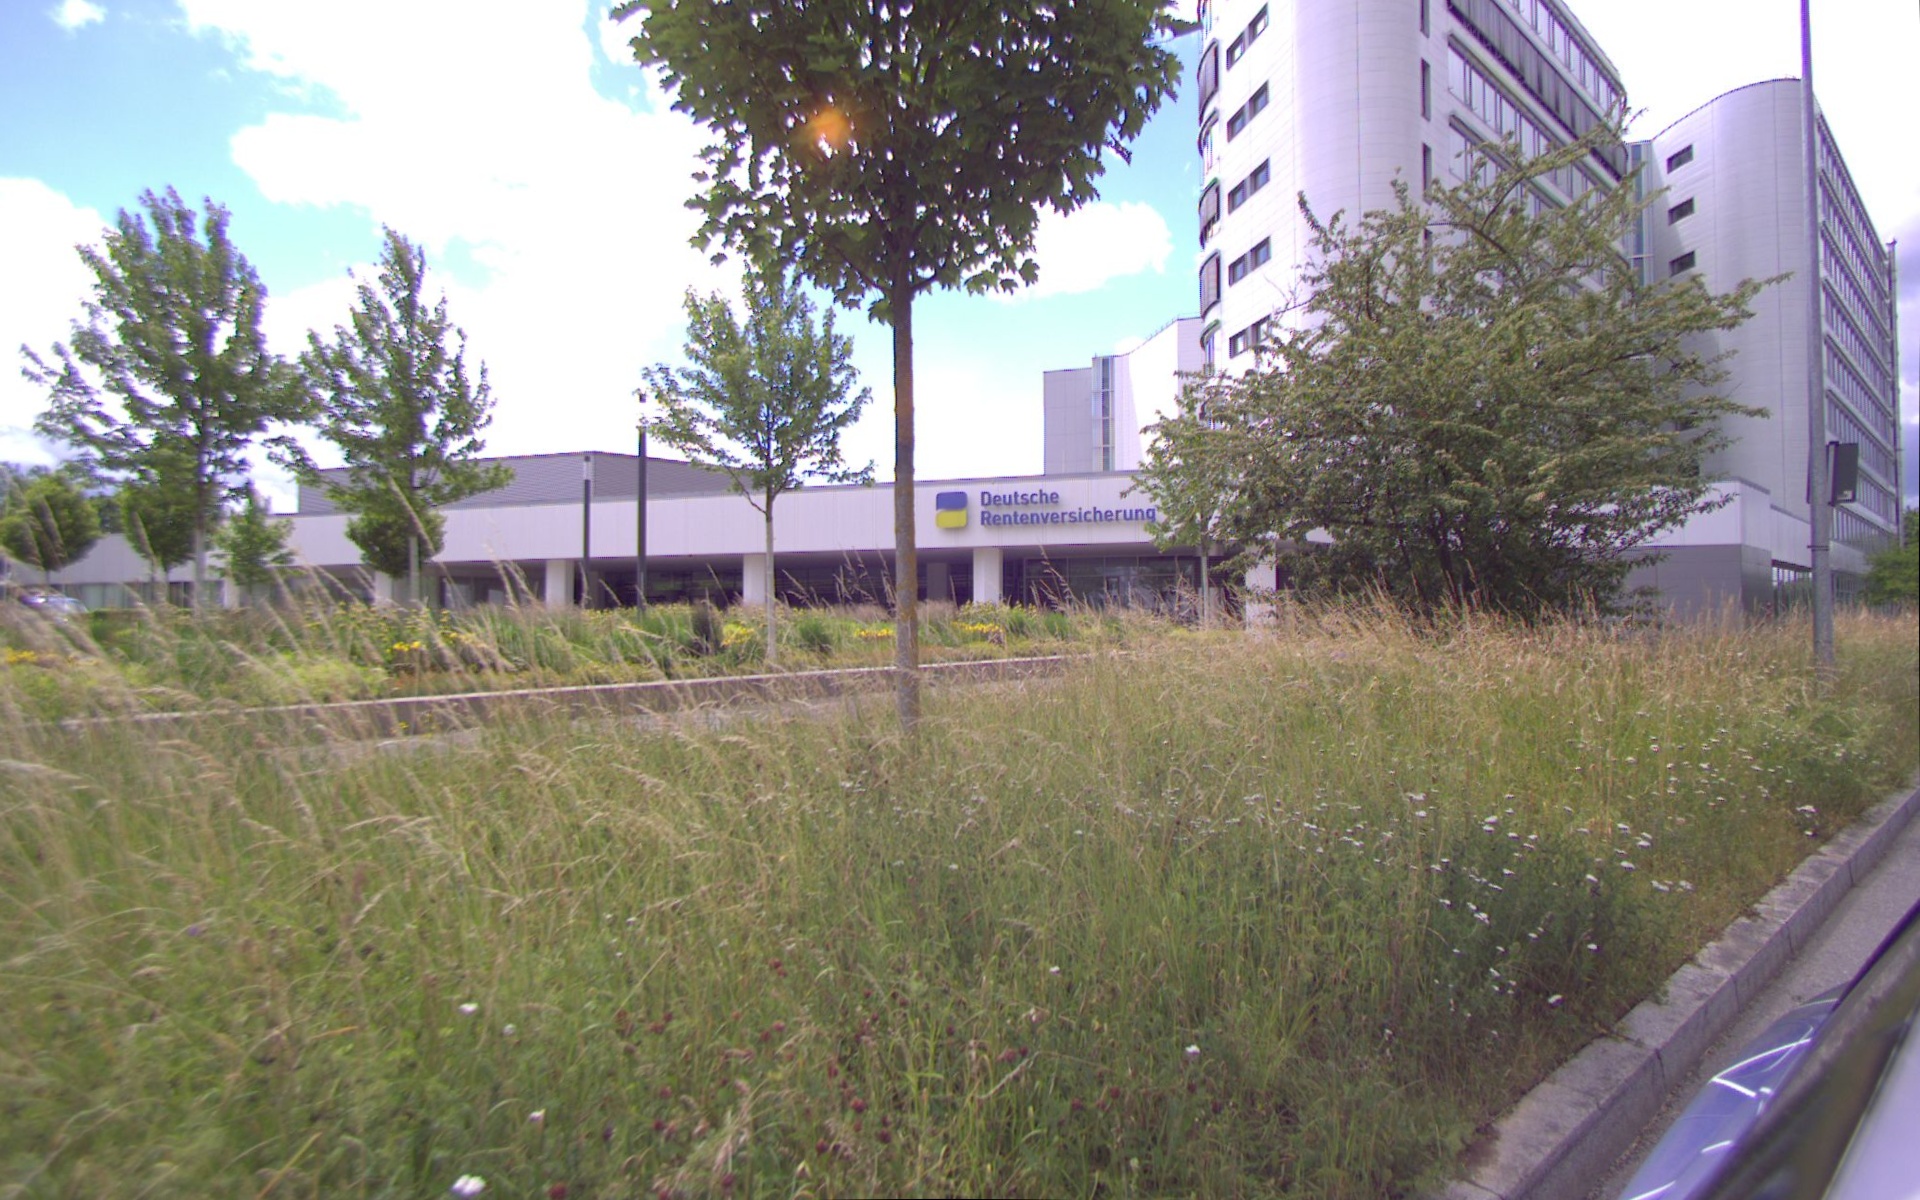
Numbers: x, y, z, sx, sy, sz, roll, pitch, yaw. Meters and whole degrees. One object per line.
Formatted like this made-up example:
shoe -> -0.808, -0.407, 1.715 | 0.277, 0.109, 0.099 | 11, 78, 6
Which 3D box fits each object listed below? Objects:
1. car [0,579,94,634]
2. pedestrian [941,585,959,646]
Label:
car -> -43.909, 0.320, 47.931 | 4.728, 2.506, 2.435 | 0, -1, 20
pedestrian -> -0.335, 0.535, 34.312 | 0.596, 2.039, 0.695 | 0, -1, 1
